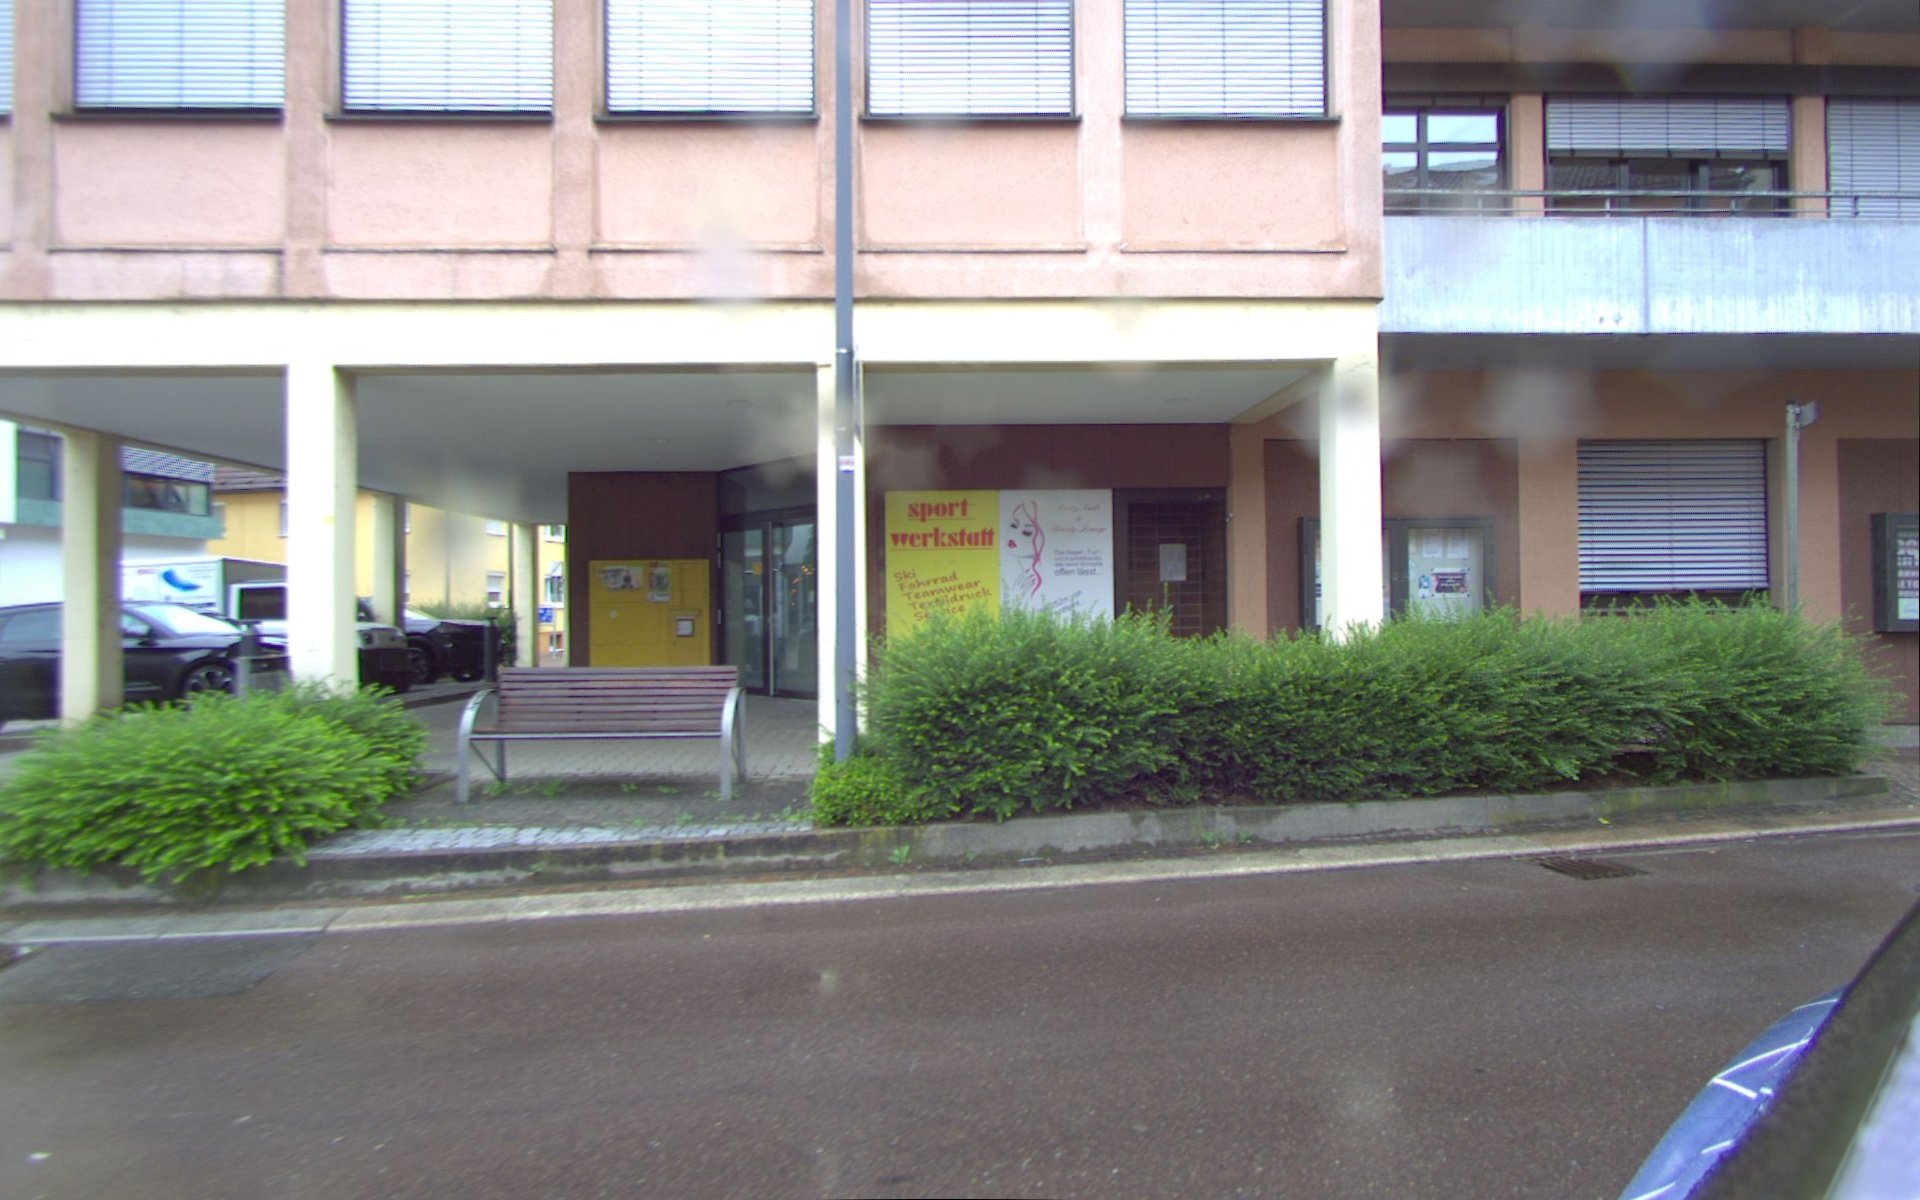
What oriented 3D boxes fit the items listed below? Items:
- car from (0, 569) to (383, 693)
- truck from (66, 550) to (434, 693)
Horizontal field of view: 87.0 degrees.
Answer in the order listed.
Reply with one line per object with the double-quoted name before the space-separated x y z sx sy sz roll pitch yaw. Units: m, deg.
"car" -9.375 0.337 11.726 4.386 1.292 1.768 -1 0 0
"truck" -9.844 0.272 14.277 3.922 1.831 1.769 -1 0 -2
